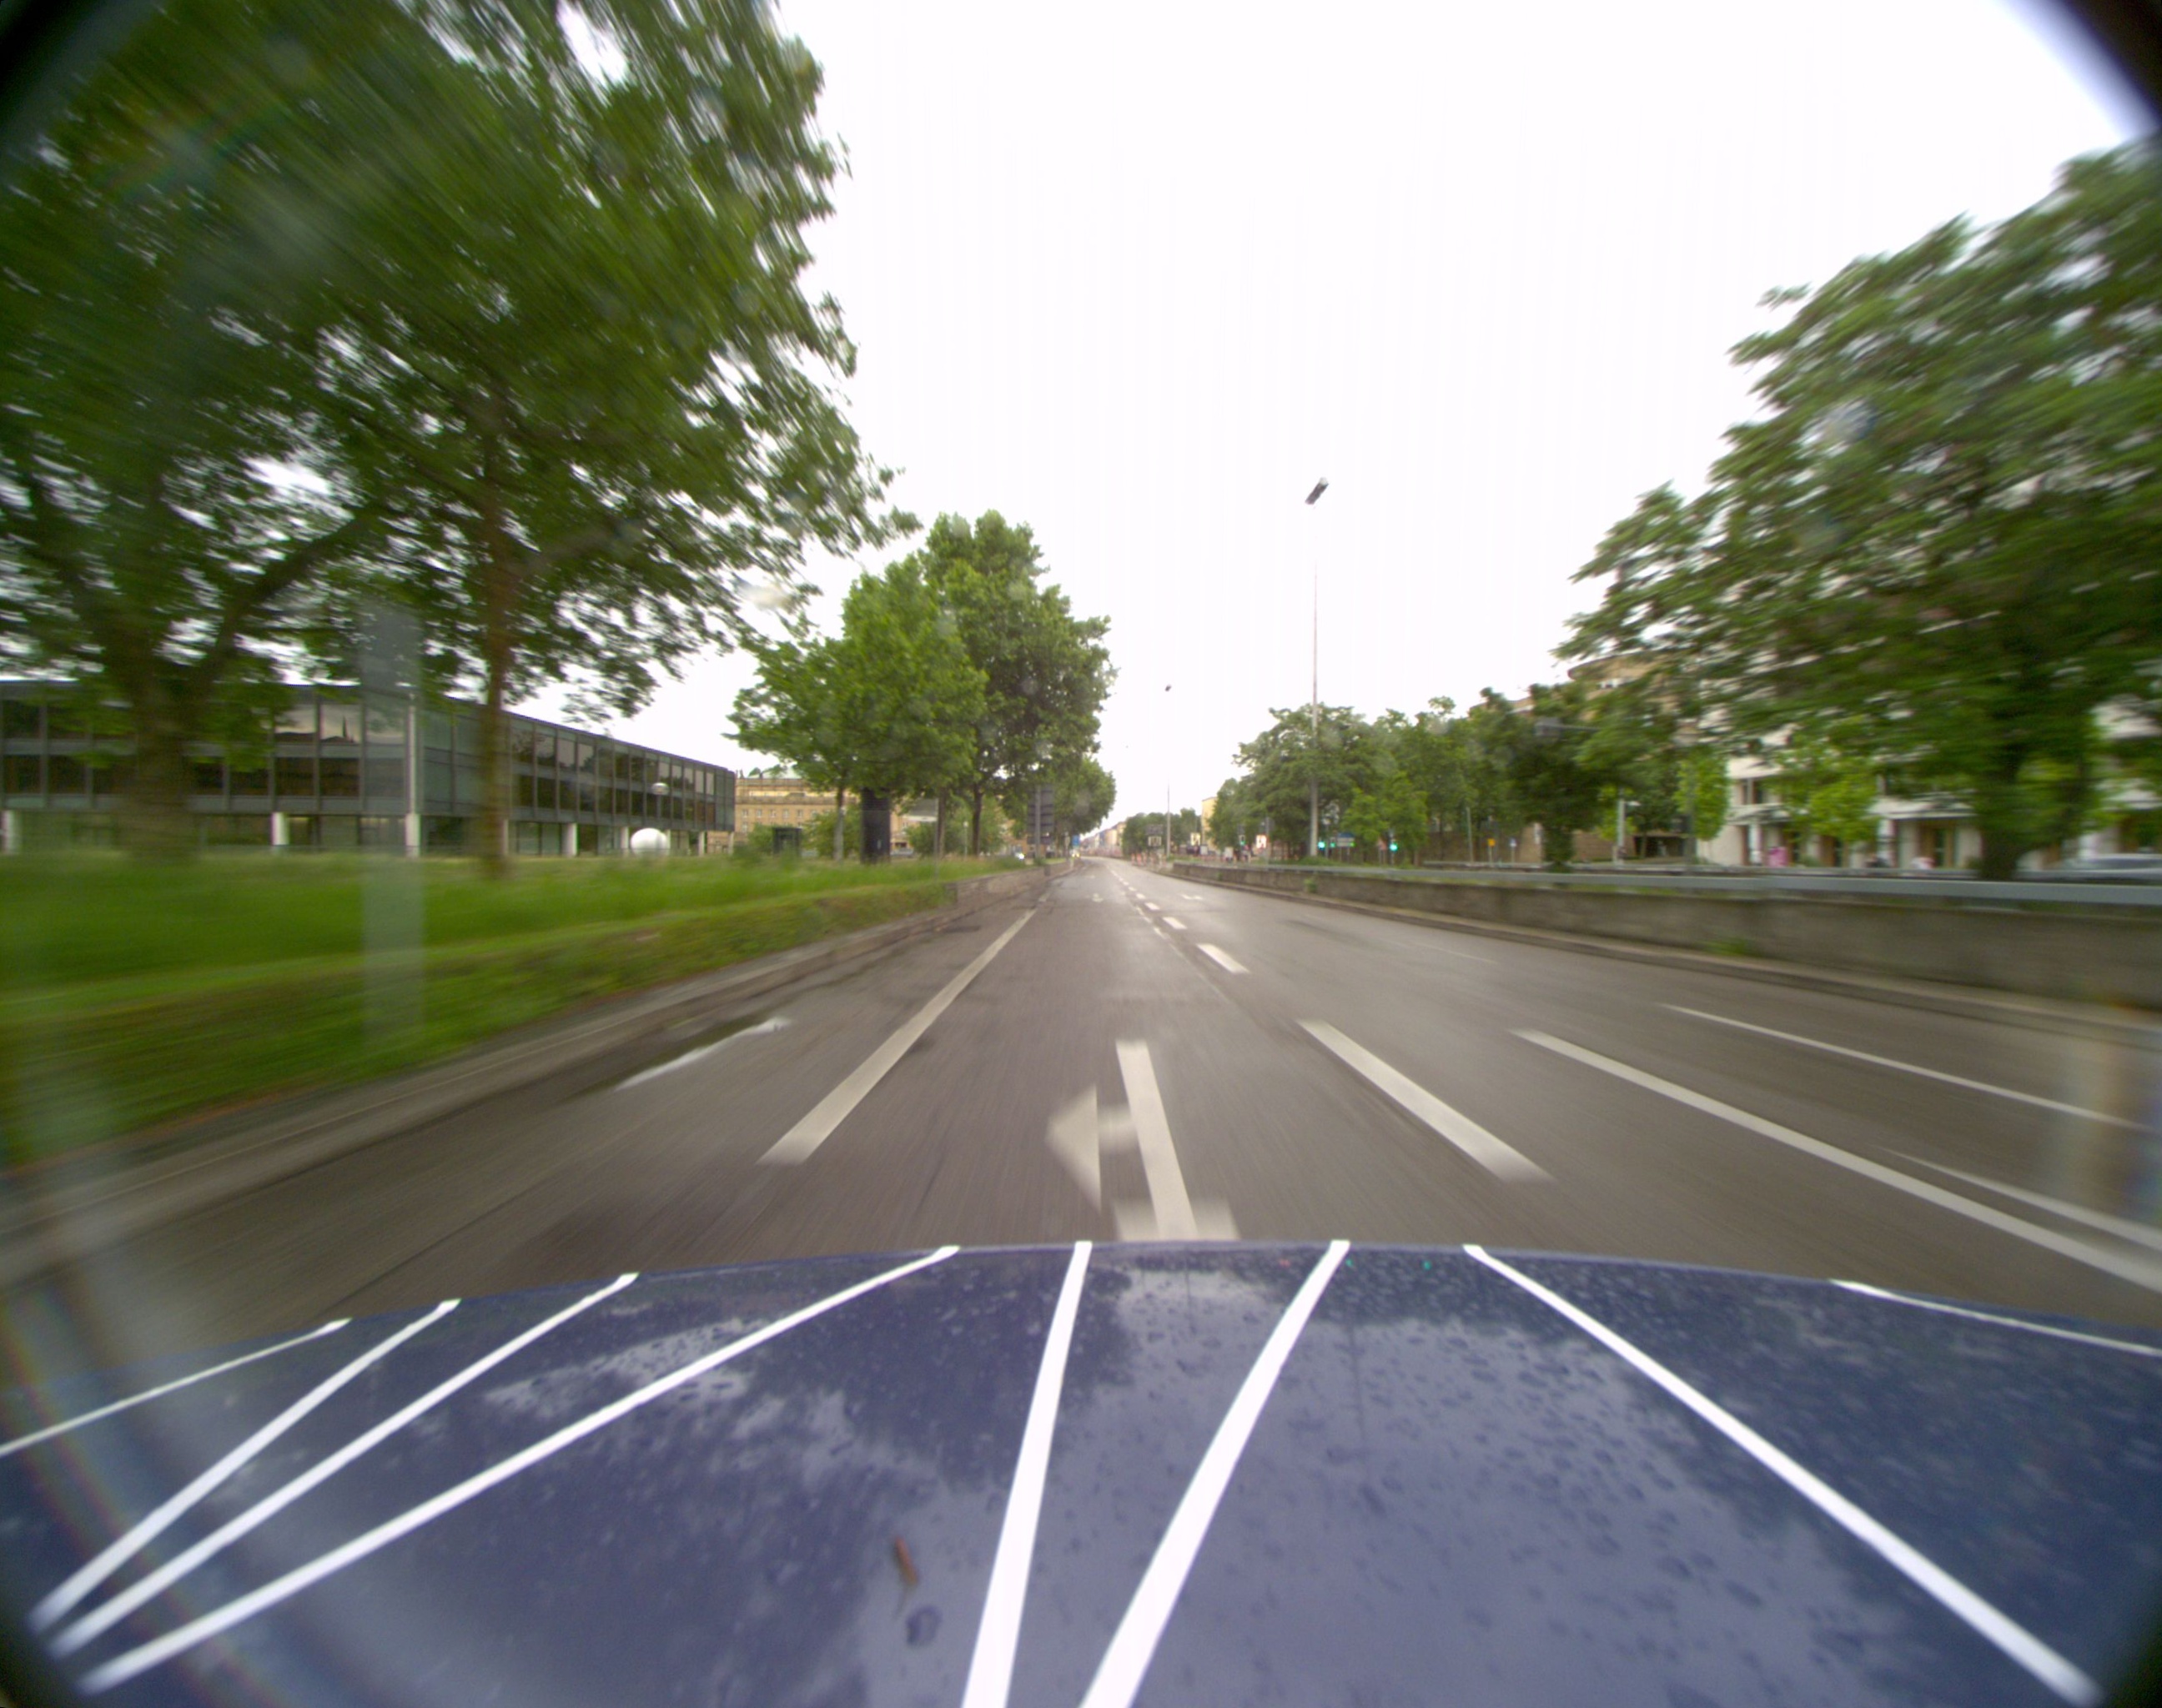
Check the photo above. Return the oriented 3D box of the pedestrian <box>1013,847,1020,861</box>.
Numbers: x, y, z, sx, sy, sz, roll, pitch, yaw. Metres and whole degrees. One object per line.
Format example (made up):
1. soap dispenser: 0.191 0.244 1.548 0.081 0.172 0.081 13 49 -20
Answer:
1. pedestrian: -7.851 0.013 92.194 0.671 1.655 0.587 0 1 -16

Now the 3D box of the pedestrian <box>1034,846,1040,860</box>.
1. pedestrian: -5.806 -0.142 99.891 0.594 1.764 0.587 -1 1 6

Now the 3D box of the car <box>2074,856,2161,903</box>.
1. car: 31.060 0.724 21.816 1.298 1.270 2.821 -1 1 -5

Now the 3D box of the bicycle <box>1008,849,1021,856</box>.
1. bicycle: -10.148 -0.222 116.216 1.758 1.059 0.827 -2 1 -20
